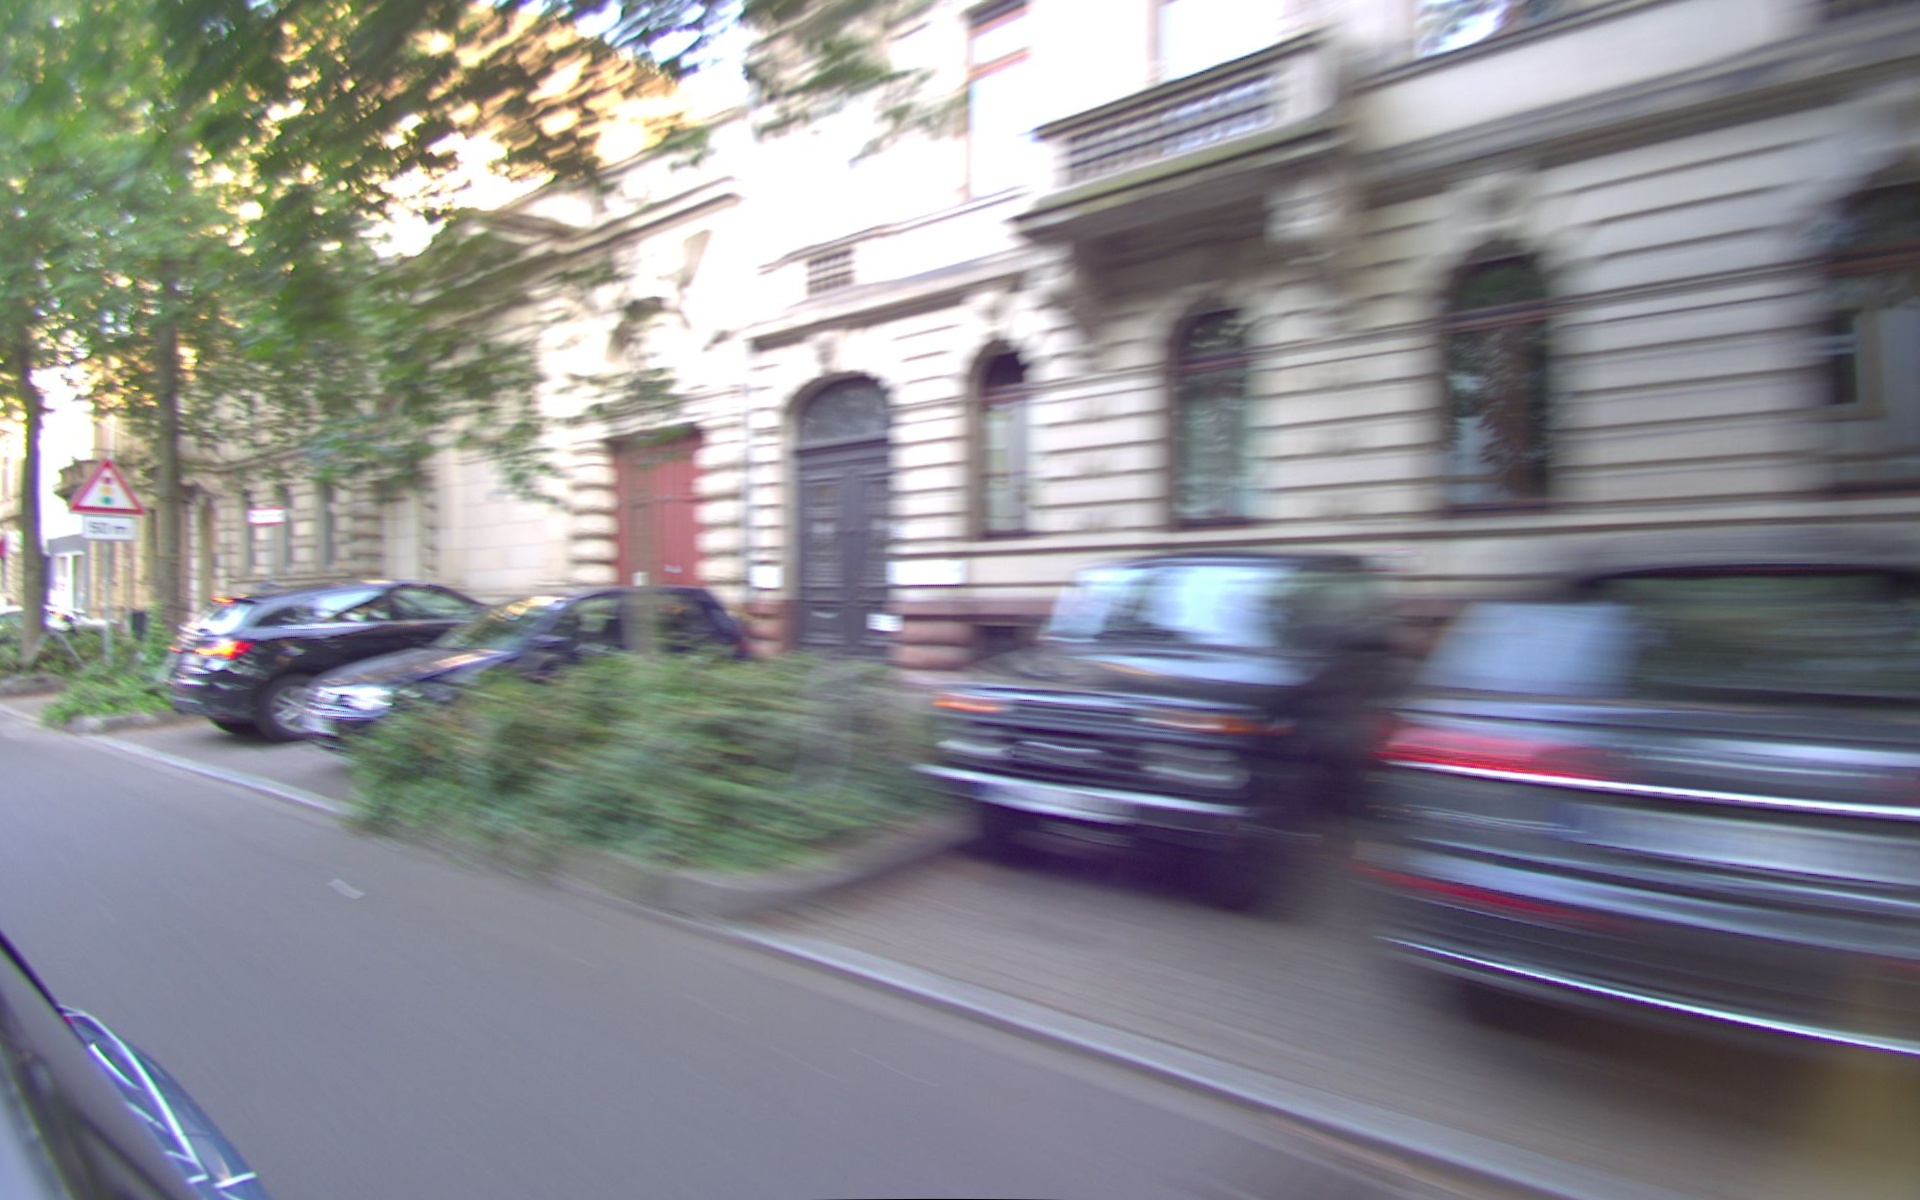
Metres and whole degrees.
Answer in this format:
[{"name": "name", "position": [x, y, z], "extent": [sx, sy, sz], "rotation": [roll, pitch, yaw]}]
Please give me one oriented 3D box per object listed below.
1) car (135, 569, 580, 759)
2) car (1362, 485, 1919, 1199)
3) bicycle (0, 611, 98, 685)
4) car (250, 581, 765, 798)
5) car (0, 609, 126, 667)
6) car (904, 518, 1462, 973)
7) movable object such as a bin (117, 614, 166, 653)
[{"name": "car", "position": [-6.660, 0.561, 11.575], "extent": [1.778, 1.608, 3.929], "rotation": [0, 4, 37]}, {"name": "car", "position": [3.147, 0.551, 3.884], "extent": [1.904, 1.684, 4.162], "rotation": [-2, 1, 37]}, {"name": "bicycle", "position": [-16.298, 0.829, 17.758], "extent": [0.500, 1.241, 1.752], "rotation": [1, 1, 42]}, {"name": "car", "position": [-3.913, 0.629, 9.327], "extent": [1.762, 1.397, 3.928], "rotation": [-2, 2, 38]}, {"name": "car", "position": [-24.209, 0.946, 25.657], "extent": [1.914, 1.401, 4.470], "rotation": [0, 0, 38]}, {"name": "car", "position": [1.552, 0.506, 5.781], "extent": [1.711, 1.684, 3.767], "rotation": [-2, 1, 36]}, {"name": "movable object such as a bin", "position": [-24.012, 0.963, 29.672], "extent": [1.314, 1.069, 0.793], "rotation": [-1, 1, 37]}]
